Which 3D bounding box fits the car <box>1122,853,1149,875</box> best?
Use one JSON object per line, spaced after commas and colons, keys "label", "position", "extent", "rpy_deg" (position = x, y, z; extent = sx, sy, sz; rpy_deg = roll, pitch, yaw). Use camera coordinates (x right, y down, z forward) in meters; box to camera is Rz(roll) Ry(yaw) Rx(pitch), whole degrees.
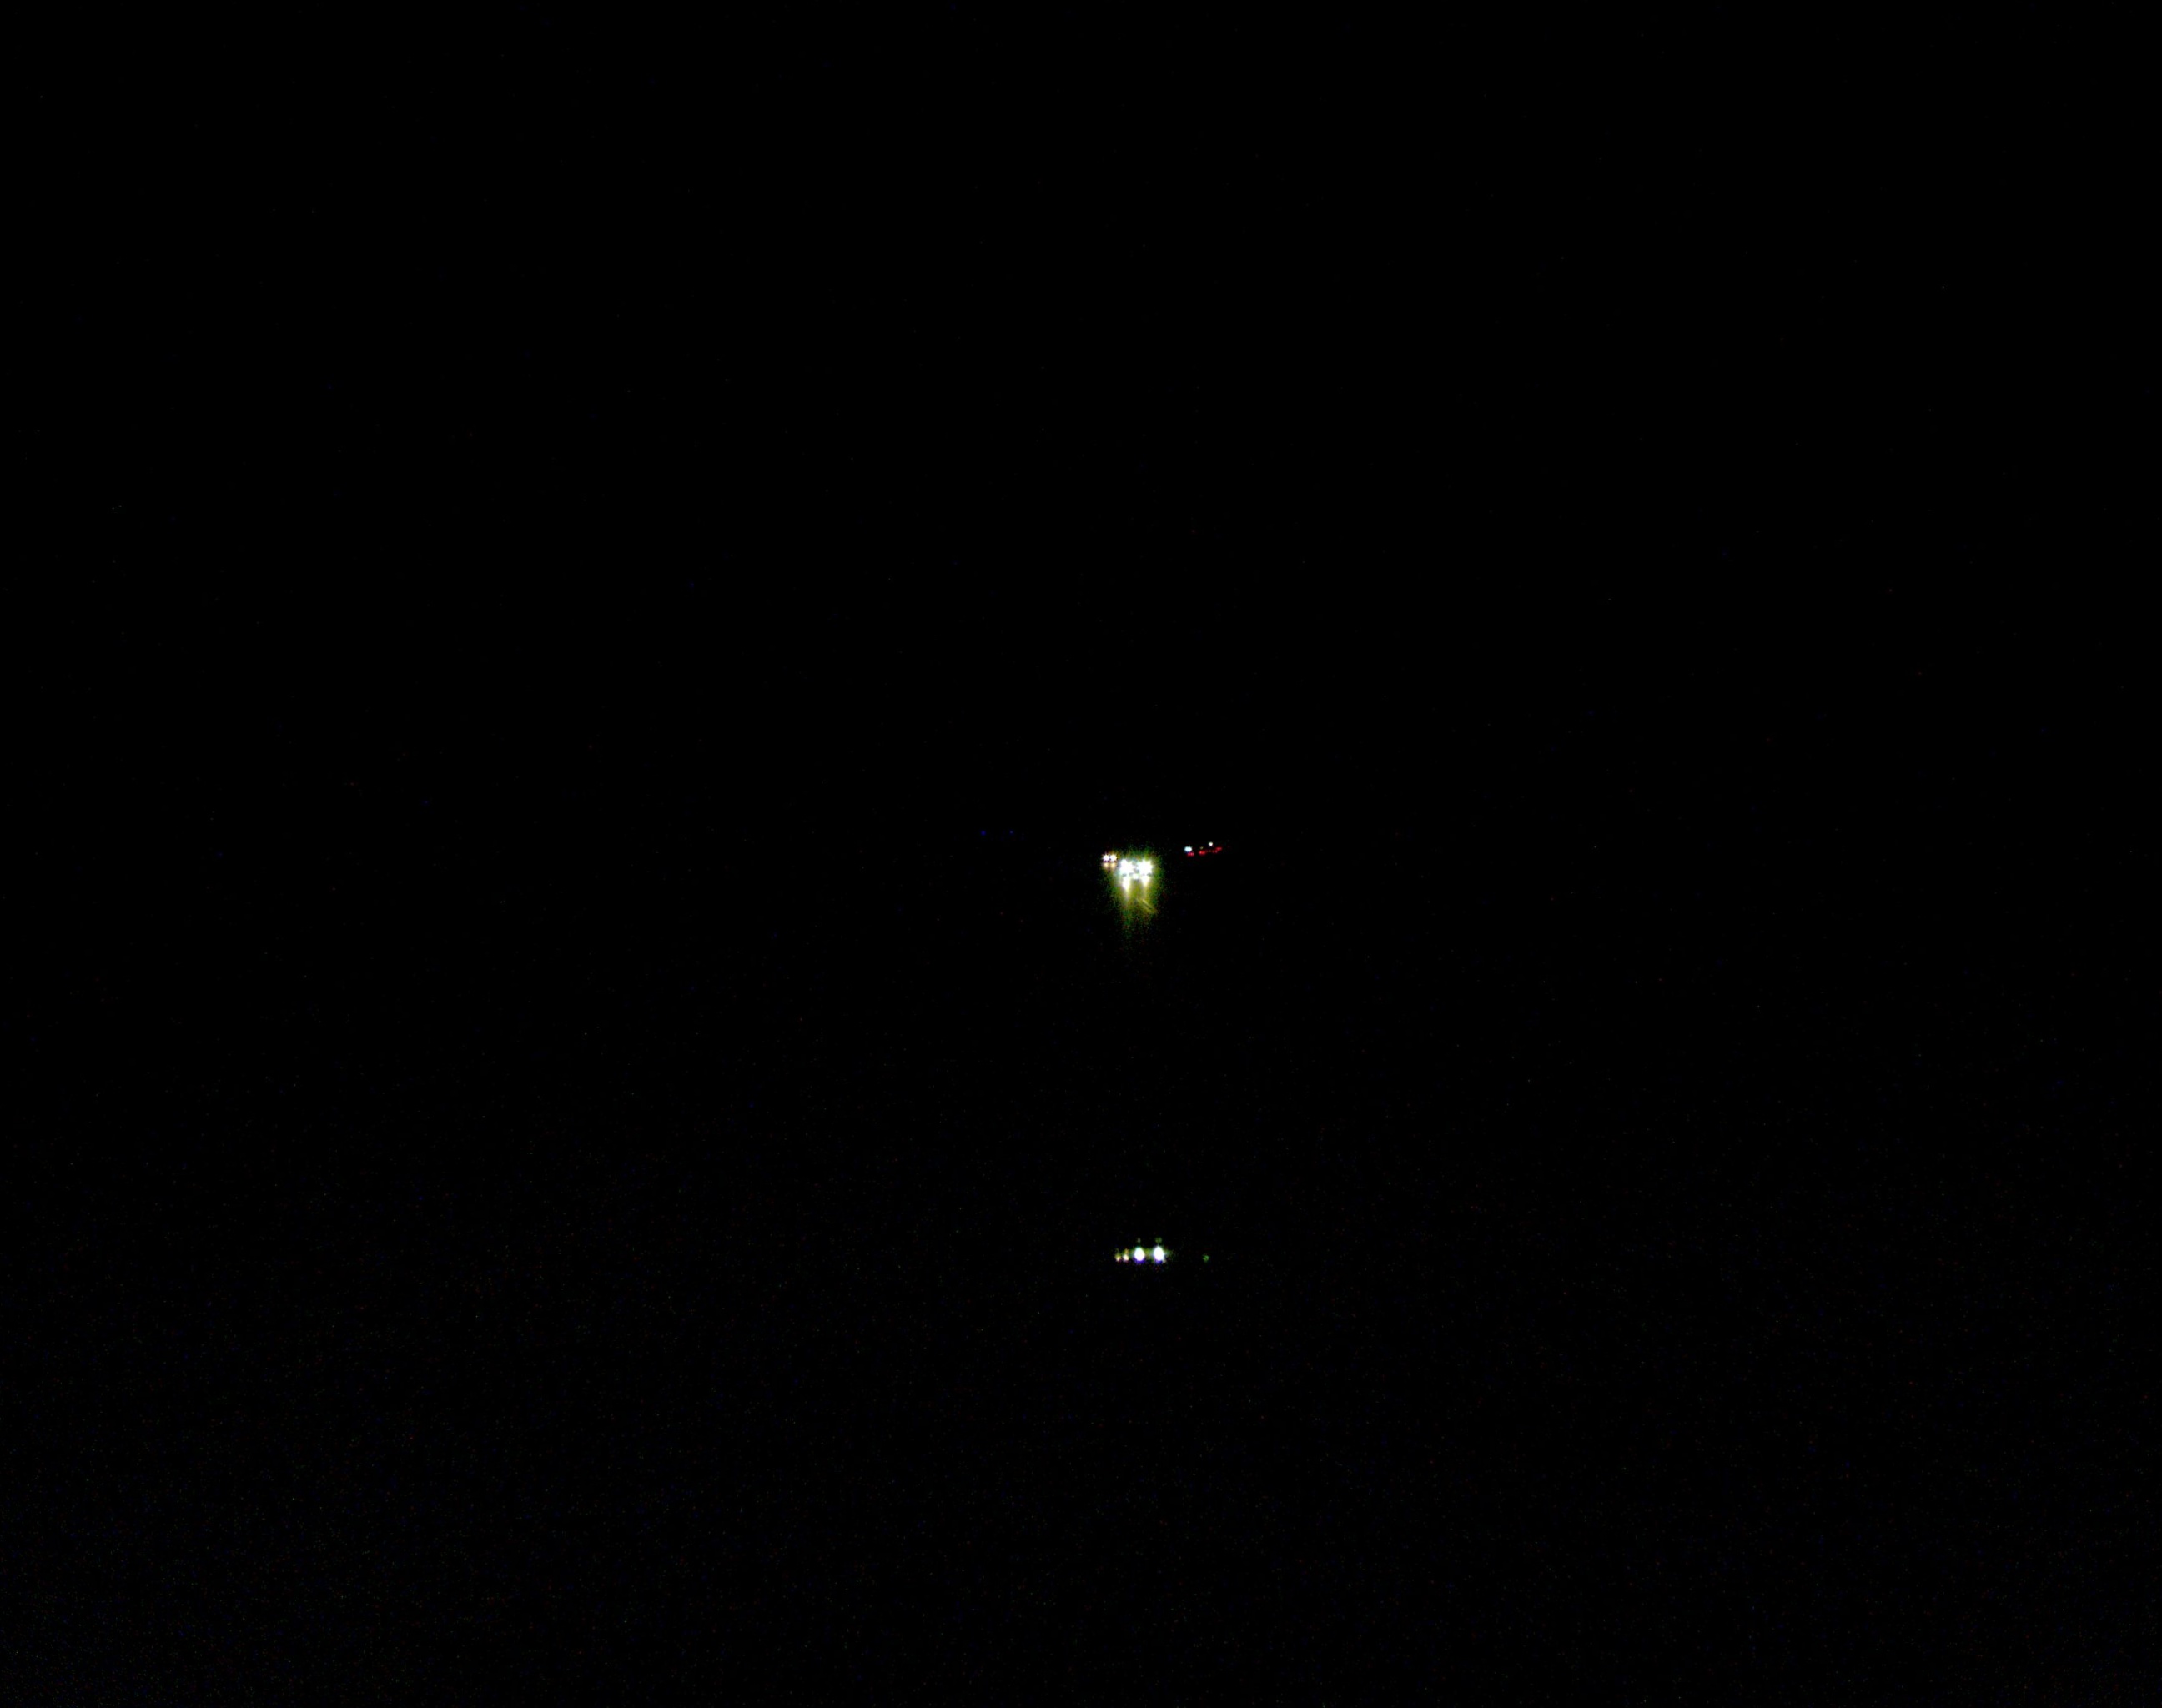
{"label": "car", "position": [3.947, 0.665, 54.959], "extent": [1.832, 1.404, 4.000], "rpy_deg": [-1, 1, 4]}

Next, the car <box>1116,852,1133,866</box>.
{"label": "car", "position": [5.144, 0.597, 89.867], "extent": [1.998, 1.456, 3.999], "rpy_deg": [-1, 2, 3]}

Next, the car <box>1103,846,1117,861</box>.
{"label": "car", "position": [6.285, -0.109, 163.958], "extent": [2.532, 2.889, 6.229], "rpy_deg": [-1, 2, 8]}
